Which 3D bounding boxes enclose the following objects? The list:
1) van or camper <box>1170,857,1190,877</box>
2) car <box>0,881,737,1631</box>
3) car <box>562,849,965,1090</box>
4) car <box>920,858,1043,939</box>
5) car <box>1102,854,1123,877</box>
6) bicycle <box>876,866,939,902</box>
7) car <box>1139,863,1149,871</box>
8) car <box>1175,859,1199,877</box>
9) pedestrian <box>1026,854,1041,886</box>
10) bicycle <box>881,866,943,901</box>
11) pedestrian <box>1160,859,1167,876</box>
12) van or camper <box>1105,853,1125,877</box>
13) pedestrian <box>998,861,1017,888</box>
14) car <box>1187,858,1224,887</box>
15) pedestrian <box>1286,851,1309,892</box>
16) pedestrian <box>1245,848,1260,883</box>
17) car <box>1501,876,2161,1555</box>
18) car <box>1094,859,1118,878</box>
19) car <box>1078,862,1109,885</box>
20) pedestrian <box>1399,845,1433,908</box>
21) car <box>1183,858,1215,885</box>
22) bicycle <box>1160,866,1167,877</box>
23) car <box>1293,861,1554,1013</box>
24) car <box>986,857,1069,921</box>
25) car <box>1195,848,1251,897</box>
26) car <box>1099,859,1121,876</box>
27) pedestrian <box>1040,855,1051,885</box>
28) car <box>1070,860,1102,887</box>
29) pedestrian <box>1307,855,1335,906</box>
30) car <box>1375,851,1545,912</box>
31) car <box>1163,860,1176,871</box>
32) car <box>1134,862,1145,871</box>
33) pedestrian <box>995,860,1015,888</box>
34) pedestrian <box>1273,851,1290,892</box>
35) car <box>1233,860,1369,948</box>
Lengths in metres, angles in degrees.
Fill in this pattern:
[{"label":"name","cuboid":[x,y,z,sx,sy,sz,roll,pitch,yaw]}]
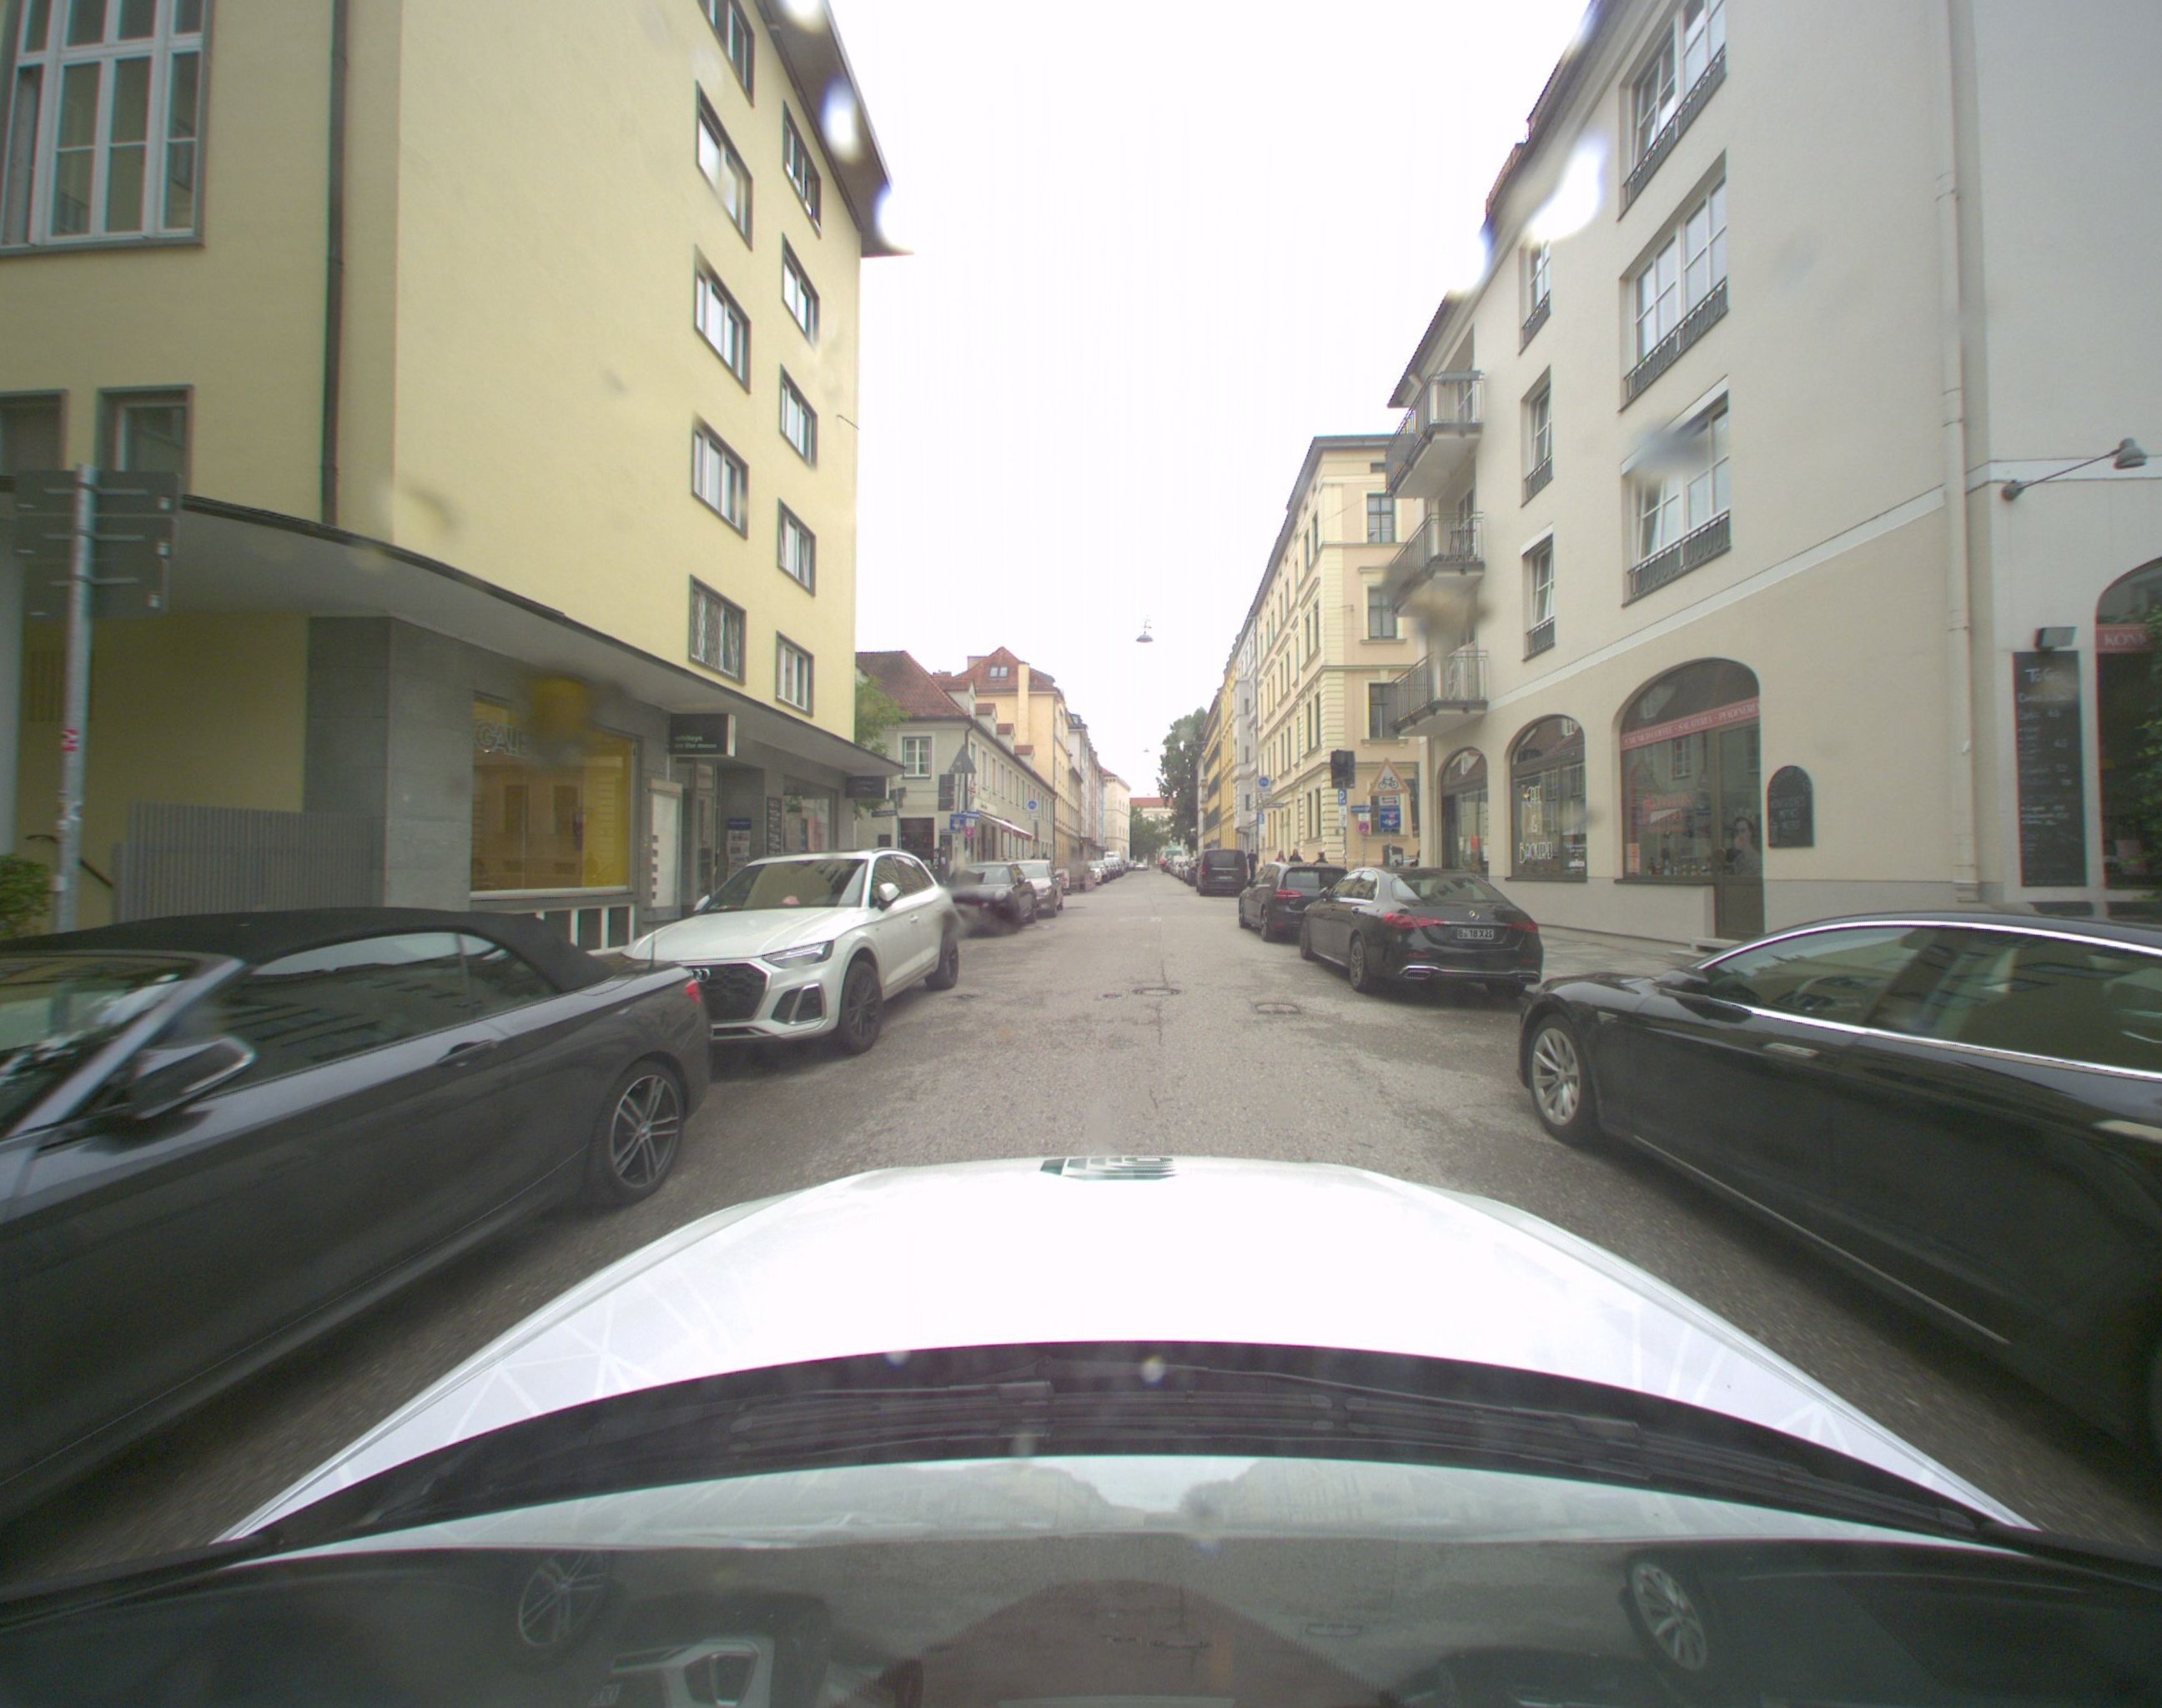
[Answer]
[{"label":"van or camper","cuboid":[9.577,1.224,78.980,1.825,1.872,5.085,0,-1,5]},{"label":"car","cuboid":[-2.983,0.882,2.573,1.737,1.410,4.103,-2,0,5]},{"label":"car","cuboid":[-2.506,0.792,7.769,1.794,1.584,4.344,-2,1,5]},{"label":"car","cuboid":[-1.953,0.837,17.177,1.671,1.471,4.103,-2,-1,5]},{"label":"car","cuboid":[2.826,1.015,73.705,1.748,1.995,4.625,0,-1,1]},{"label":"bicycle","cuboid":[-5.305,0.906,24.933,1.808,1.035,0.392,1,0,7]},{"label":"car","cuboid":[12.494,2.600,161.152,1.697,1.581,3.870,-2,-1,7]},{"label":"car","cuboid":[8.984,1.171,69.273,1.701,1.454,4.099,0,-1,3]},{"label":"pedestrian","cuboid":[-2.865,0.942,49.001,0.819,1.898,0.828,-1,-2,3]},{"label":"bicycle","cuboid":[-5.254,0.919,25.335,1.808,1.035,0.392,1,0,7]},{"label":"pedestrian","cuboid":[8.648,1.402,85.257,0.639,1.714,0.844,-1,-2,5]},{"label":"van or camper","cuboid":[3.332,1.088,79.093,1.747,2.281,5.278,0,-1,4]},{"label":"pedestrian","cuboid":[-3.515,0.972,38.850,0.799,1.290,0.694,-1,-2,4]},{"label":"car","cuboid":[6.882,1.006,45.227,1.746,1.521,4.280,0,-1,5]},{"label":"pedestrian","cuboid":[8.602,0.701,32.367,0.656,1.621,0.980,-1,-2,4]},{"label":"pedestrian","cuboid":[9.909,0.682,47.106,0.666,1.981,0.709,-4,-2,5]},{"label":"car","cuboid":[3.372,0.849,2.789,1.794,1.410,4.662,0,0,5]},{"label":"car","cuboid":[1.939,1.105,63.854,1.810,1.441,4.132,-1,0,1]},{"label":"car","cuboid":[0.862,1.231,52.813,1.790,1.339,4.690,0,0,4]},{"label":"pedestrian","cuboid":[8.825,0.596,21.439,0.633,1.647,0.526,0,-2,-4]},{"label":"car","cuboid":[7.344,1.083,51.127,1.735,1.583,4.472,0,-1,5]},{"label":"bicycle","cuboid":[8.650,1.831,85.223,0.672,1.095,1.762,-1,-2,5]},{"label":"car","cuboid":[4.019,0.843,10.416,1.639,1.425,4.513,2,0,3]},{"label":"car","cuboid":[-1.318,0.847,21.847,1.672,1.471,4.952,-2,0,2]},{"label":"car","cuboid":[5.822,0.742,33.922,1.987,1.864,5.261,0,-1,6]},{"label":"car","cuboid":[2.451,1.127,68.804,1.747,1.409,4.106,0,-1,3]},{"label":"pedestrian","cuboid":[-2.124,0.963,49.210,0.526,1.782,0.878,-1,-2,5]},{"label":"car","cuboid":[0.346,1.108,47.736,1.748,1.475,3.715,0,-1,2]},{"label":"pedestrian","cuboid":[8.350,0.924,28.366,0.716,1.717,1.004,-1,-2,3]},{"label":"car","cuboid":[10.818,0.755,23.456,4.071,1.605,1.756,-1,1,2]},{"label":"car","cuboid":[12.973,1.696,119.563,1.803,1.614,4.161,-1,-1,5]},{"label":"car","cuboid":[11.143,2.411,155.094,1.697,1.581,3.870,-2,-1,7]},{"label":"pedestrian","cuboid":[-3.572,0.957,38.126,0.799,1.290,0.694,-1,-2,4]},{"label":"pedestrian","cuboid":[7.972,0.701,32.418,0.470,1.625,1.070,-1,-2,4]},{"label":"car","cuboid":[4.150,0.867,15.990,1.669,1.425,4.206,2,0,2]}]
